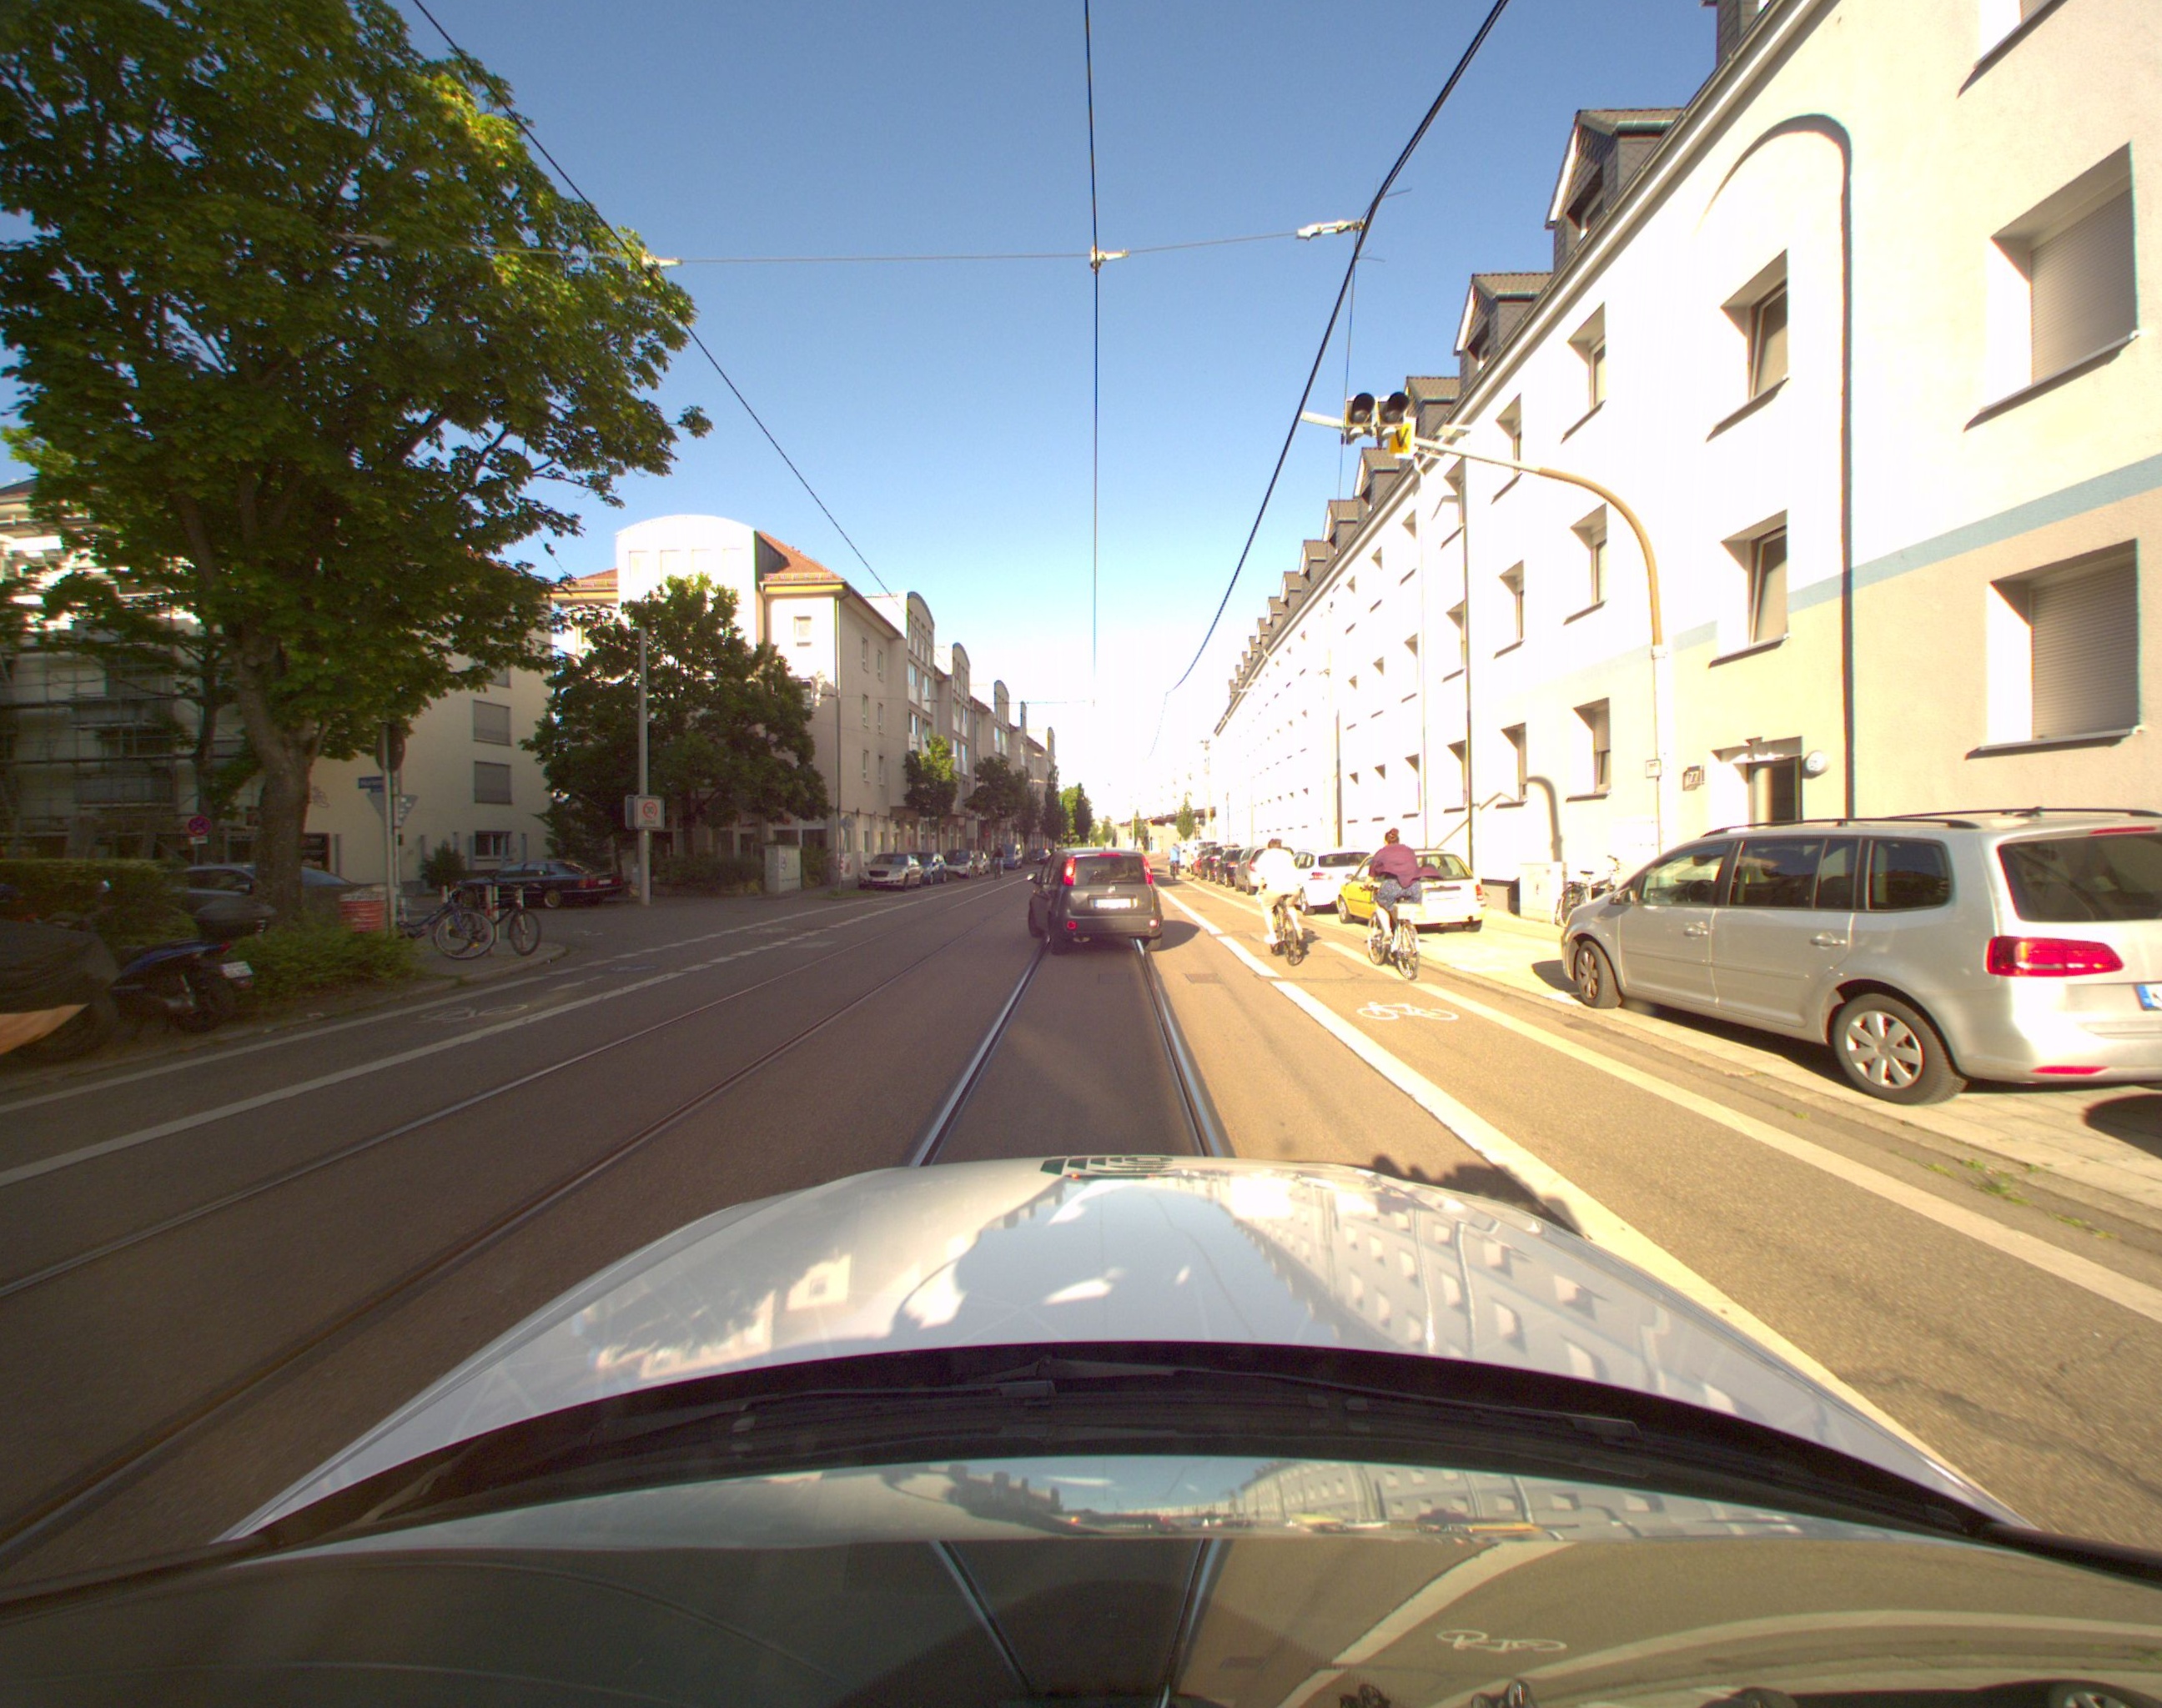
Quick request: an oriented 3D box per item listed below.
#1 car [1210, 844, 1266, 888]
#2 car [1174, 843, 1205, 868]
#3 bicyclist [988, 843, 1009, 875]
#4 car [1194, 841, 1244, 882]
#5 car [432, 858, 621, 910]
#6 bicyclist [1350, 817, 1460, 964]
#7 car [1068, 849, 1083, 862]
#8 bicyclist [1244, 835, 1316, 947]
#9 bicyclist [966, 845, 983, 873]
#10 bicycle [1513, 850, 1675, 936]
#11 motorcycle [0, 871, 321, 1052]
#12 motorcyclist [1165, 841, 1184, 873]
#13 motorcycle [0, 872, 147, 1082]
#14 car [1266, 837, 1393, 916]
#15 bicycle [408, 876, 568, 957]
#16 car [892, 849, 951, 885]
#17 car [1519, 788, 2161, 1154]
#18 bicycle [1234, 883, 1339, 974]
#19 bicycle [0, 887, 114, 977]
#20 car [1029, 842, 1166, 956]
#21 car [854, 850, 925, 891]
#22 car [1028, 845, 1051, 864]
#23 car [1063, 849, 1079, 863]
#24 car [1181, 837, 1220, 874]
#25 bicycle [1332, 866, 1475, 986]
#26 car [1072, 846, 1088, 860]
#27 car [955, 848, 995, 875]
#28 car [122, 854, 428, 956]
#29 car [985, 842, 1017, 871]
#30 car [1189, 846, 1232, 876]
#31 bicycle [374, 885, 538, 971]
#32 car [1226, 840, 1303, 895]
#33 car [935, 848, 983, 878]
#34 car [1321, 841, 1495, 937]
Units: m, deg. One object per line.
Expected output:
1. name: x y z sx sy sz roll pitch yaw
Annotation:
1. car: 6.131 0.414 32.154 1.585 1.537 4.011 -3 0 3
2. car: 7.743 0.075 58.382 1.836 1.646 4.552 -1 0 3
3. bicyclist: -4.238 0.246 41.975 0.878 1.561 0.868 -4 0 1
4. car: 6.248 0.292 37.218 1.654 1.669 3.907 -4 0 3
5. car: -16.274 0.852 24.001 4.531 1.388 1.717 -1 0 6
6. bicyclist: 3.874 0.414 9.819 0.931 1.676 0.970 -1 0 1
7. car: -0.621 0.193 98.668 1.585 1.540 3.193 -1 0 3
8. bicyclist: 2.711 0.476 11.182 0.725 1.462 1.021 -1 0 1
9. bicyclist: -5.460 0.243 41.933 0.621 1.380 0.868 -5 0 2
10. bicycle: 7.931 0.550 12.770 1.092 1.197 2.327 -1 1 0
11. motorcycle: -8.159 0.906 7.251 1.966 1.447 0.719 -1 0 -6
12. motorcyclist: 4.248 0.140 37.121 0.725 1.405 1.021 -1 0 1
13. motorcycle: -8.476 0.888 6.037 1.966 1.447 0.835 -1 0 -6
14. car: 5.656 0.444 19.127 1.673 1.571 4.511 -3 1 2
15. bicycle: -8.517 0.889 11.728 1.869 1.084 0.596 -1 0 3
16. car: -7.407 0.576 38.273 1.823 1.489 4.002 -3 1 1
17. car: 5.451 0.486 6.084 1.750 1.665 4.624 -3 1 -1
18. bicycle: 2.707 0.941 11.092 0.736 0.924 2.837 2 1 1
19. bicycle: -13.602 1.012 10.686 1.385 1.144 0.332 0 0 -2
20. car: 0.127 0.634 12.829 1.556 1.533 3.475 0 -1 -9
21. car: -7.523 0.612 32.374 1.738 1.442 4.002 1 1 1
22. car: -3.791 0.032 75.580 1.658 1.618 4.004 -1 1 4
23. car: -1.174 0.208 94.667 1.585 1.540 3.193 -1 0 3
24. car: 6.856 0.059 46.914 1.779 1.970 4.158 -3 1 3
25. bicycle: 3.878 0.802 10.068 0.818 1.236 2.463 0 1 1
26. car: -0.102 -0.132 104.790 1.836 1.646 3.700 -1 0 3
27. car: -6.673 0.458 51.589 1.823 1.593 4.002 -1 1 1
28. car: -15.026 0.918 15.331 3.967 1.659 1.913 -1 2 6
29. car: -5.878 0.150 60.236 1.658 1.986 4.347 -1 1 4
30. car: 6.740 0.339 42.713 1.788 1.483 3.781 -1 0 3
31. bicycle: -8.547 1.003 11.164 1.798 1.084 0.596 -1 0 3
32. car: 5.952 0.388 26.847 1.747 1.571 3.907 -4 0 3
33. car: -6.879 0.476 46.245 1.822 1.593 4.004 -1 1 4
34. car: 5.722 0.517 14.804 1.508 1.430 4.202 -3 1 1
